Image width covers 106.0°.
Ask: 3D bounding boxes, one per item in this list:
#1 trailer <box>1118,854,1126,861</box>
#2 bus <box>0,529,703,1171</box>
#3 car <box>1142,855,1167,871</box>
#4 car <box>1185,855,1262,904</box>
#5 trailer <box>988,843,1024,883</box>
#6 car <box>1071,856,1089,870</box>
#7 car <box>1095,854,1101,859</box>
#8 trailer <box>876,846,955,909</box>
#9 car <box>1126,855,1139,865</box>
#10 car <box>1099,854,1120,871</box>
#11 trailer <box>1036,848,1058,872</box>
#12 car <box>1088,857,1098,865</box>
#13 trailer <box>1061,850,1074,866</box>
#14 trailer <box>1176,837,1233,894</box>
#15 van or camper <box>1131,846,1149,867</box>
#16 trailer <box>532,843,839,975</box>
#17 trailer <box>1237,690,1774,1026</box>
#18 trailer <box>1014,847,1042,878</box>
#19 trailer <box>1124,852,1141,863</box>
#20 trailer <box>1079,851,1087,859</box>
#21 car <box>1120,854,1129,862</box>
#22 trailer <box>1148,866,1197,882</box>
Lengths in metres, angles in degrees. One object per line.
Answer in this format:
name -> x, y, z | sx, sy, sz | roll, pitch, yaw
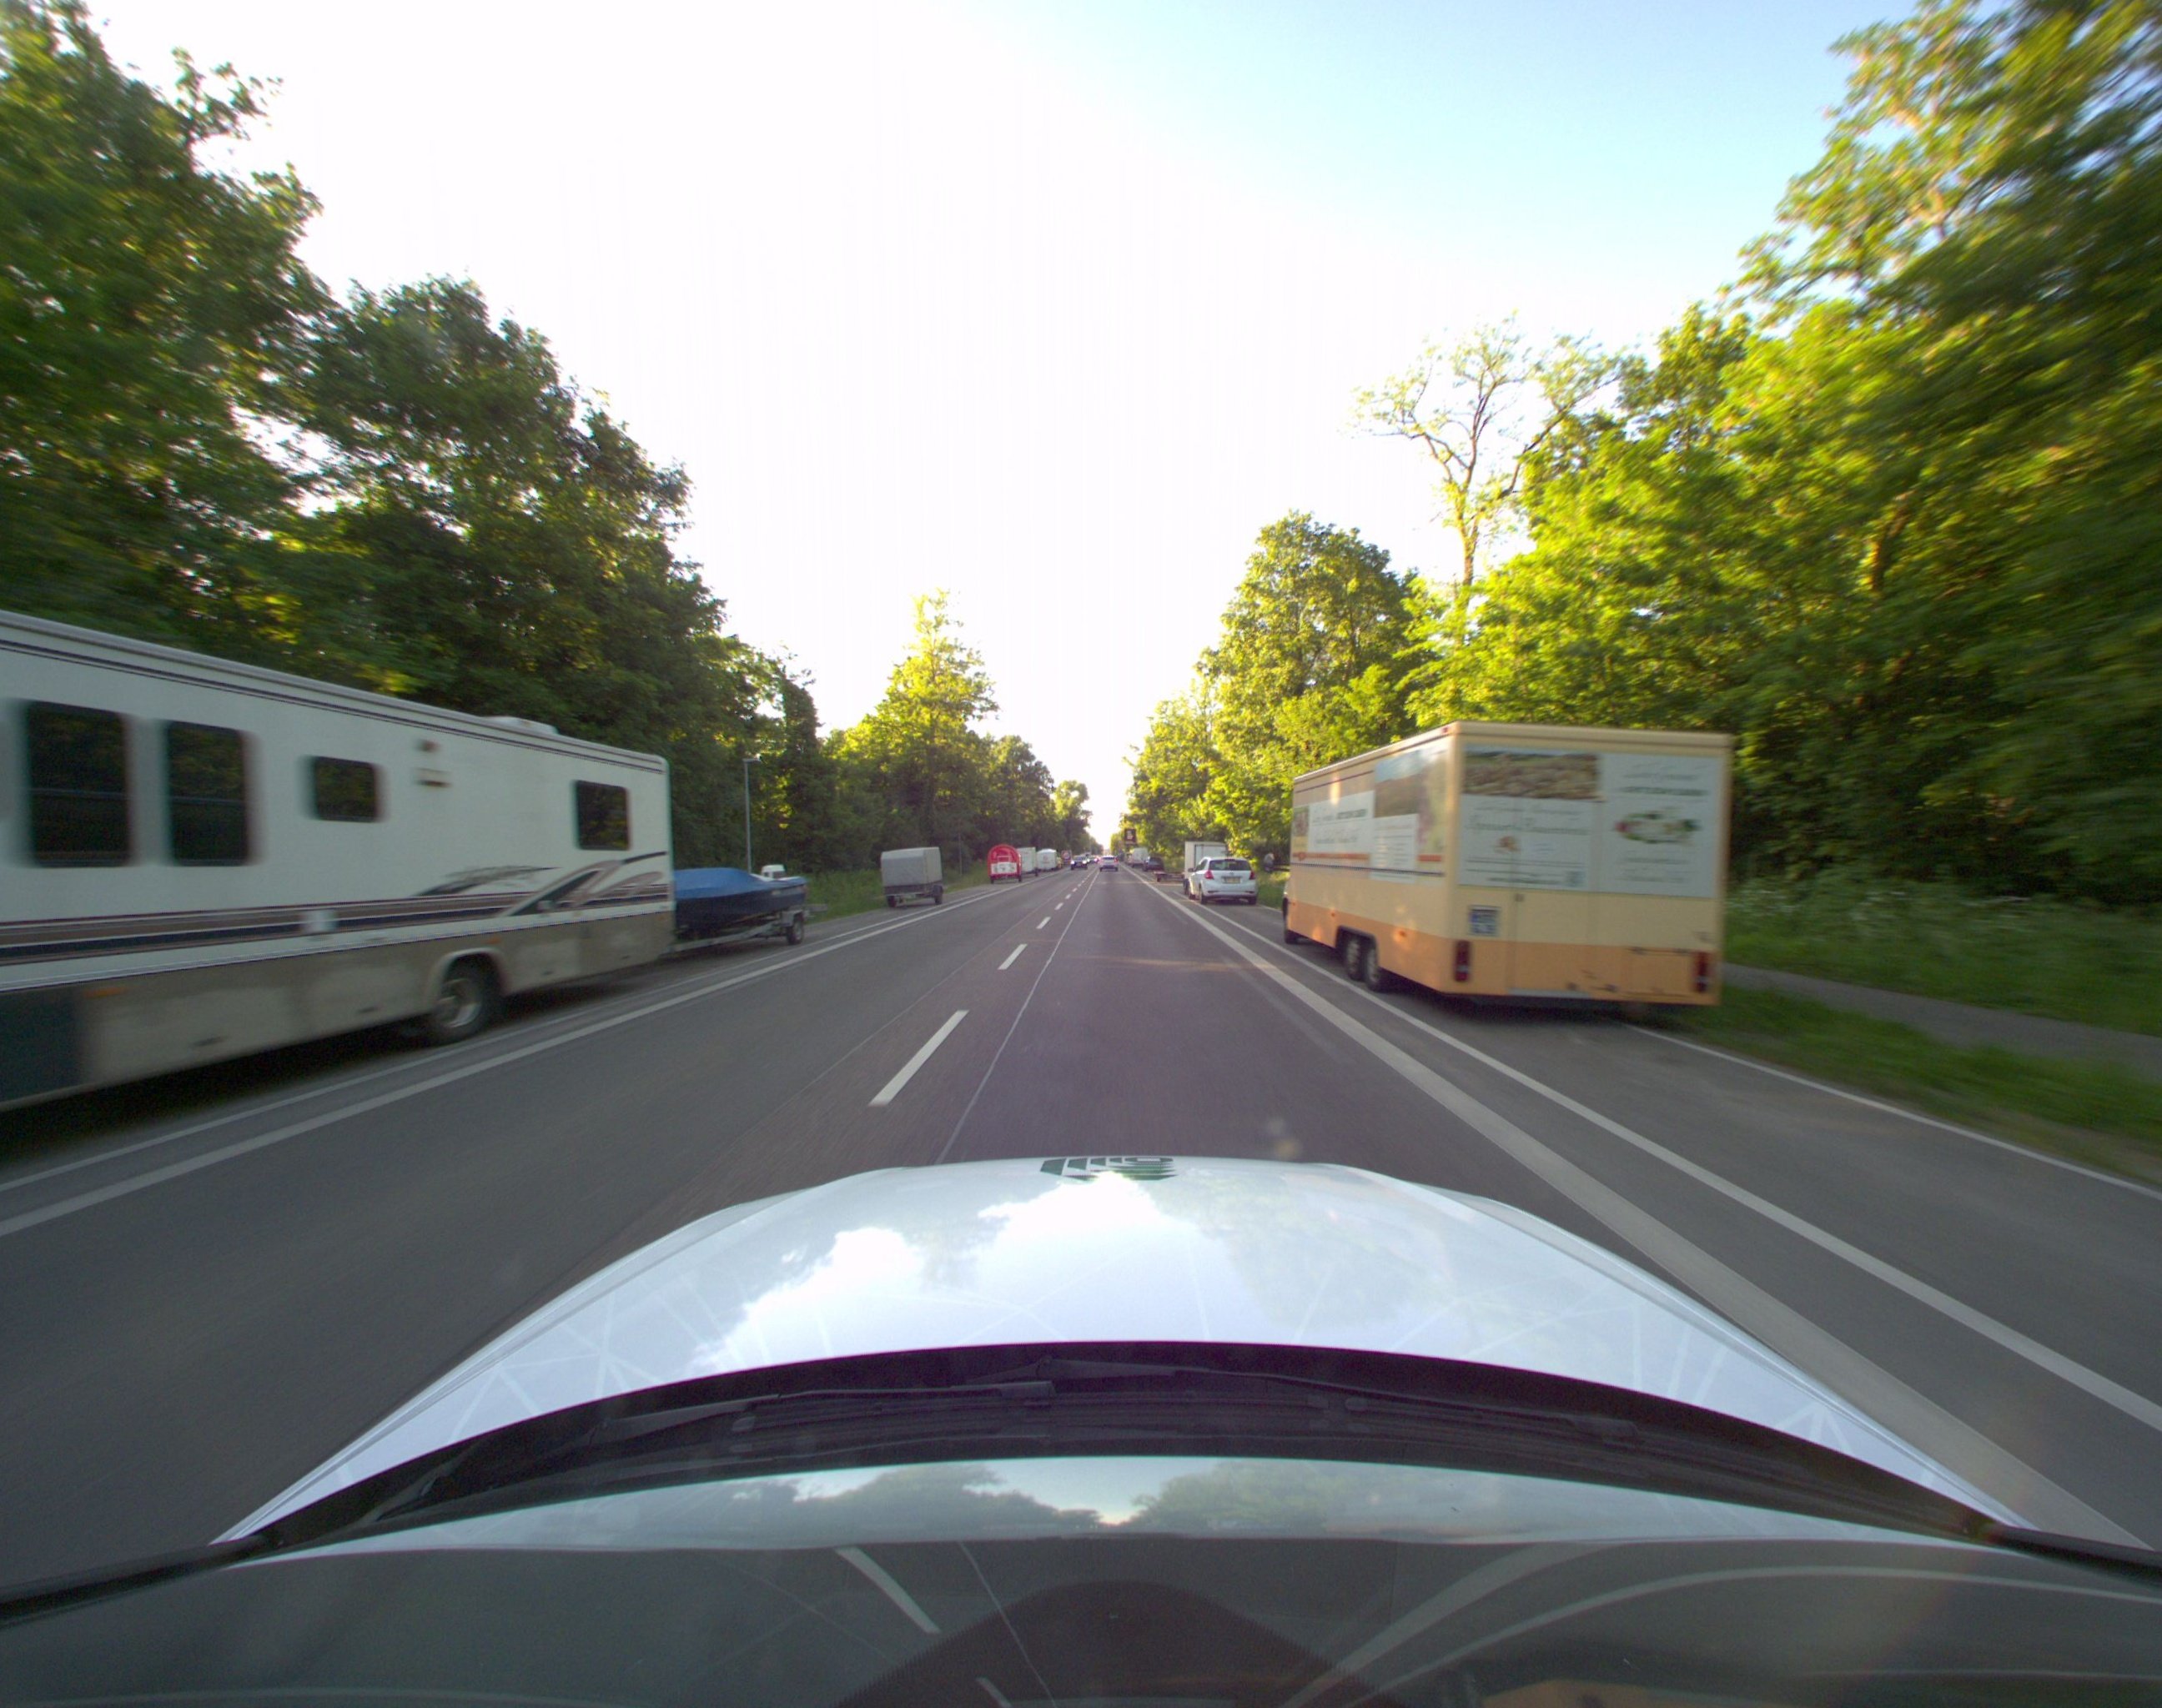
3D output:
trailer -> 12.288, 1.075, 243.712 | 1.600, 2.112, 2.409 | -1, 0, 22
bus -> -7.117, 0.000, 6.298 | 2.817, 3.431, 11.204 | 0, -1, 2
car -> 7.000, 0.865, 77.897 | 1.829, 1.421, 4.595 | 2, 0, -1
car -> 4.582, 0.778, 26.876 | 1.880, 1.468, 4.571 | -1, 0, 2
trailer -> -4.880, 0.566, 53.597 | 2.060, 2.480, 3.559 | -2, 0, -1
car -> -0.079, 1.039, 93.932 | 1.811, 1.587, 4.461 | -2, -1, 2
car -> 4.898, 0.782, 235.146 | 1.598, 1.421, 3.520 | -3, 0, 2
trailer -> -5.887, 0.794, 29.336 | 1.846, 2.013, 3.563 | -4, 0, 2
car -> 7.708, 0.944, 122.318 | 1.729, 1.488, 4.401 | 1, 0, 1
car -> 2.820, 0.841, 80.465 | 1.986, 1.640, 4.002 | -2, 0, 2
trailer -> -3.745, 0.636, 90.608 | 2.339, 2.529, 4.341 | -2, 0, -1
car -> 2.329, 1.360, 153.658 | 1.812, 1.532, 4.532 | -2, -1, 2
trailer -> -2.320, 0.719, 139.137 | 1.986, 2.621, 4.088 | -1, 0, 2
trailer -> 4.921, 0.448, 32.822 | 1.748, 2.162, 3.540 | -1, 0, 1
van or camper -> 7.330, 0.317, 101.471 | 2.117, 2.482, 6.309 | -1, 0, 3
trailer -> -6.725, 0.802, 15.058 | 2.419, 1.914, 6.266 | -1, 0, 2
trailer -> 4.648, 0.078, 12.028 | 2.911, 2.841, 9.884 | 1, -1, 1
trailer -> -4.388, 0.704, 67.950 | 2.060, 2.480, 3.559 | -2, 0, -1
trailer -> 9.463, 0.591, 150.158 | 1.945, 2.023, 3.864 | -1, 0, 22
trailer -> 0.501, 0.177, 245.025 | 2.066, 2.293, 3.490 | -2, 0, 4
car -> 10.585, 0.978, 199.510 | 2.105, 2.014, 5.042 | 1, 0, 2
trailer -> 5.208, 1.125, 47.136 | 2.423, 0.798, 5.662 | 0, -1, 2
